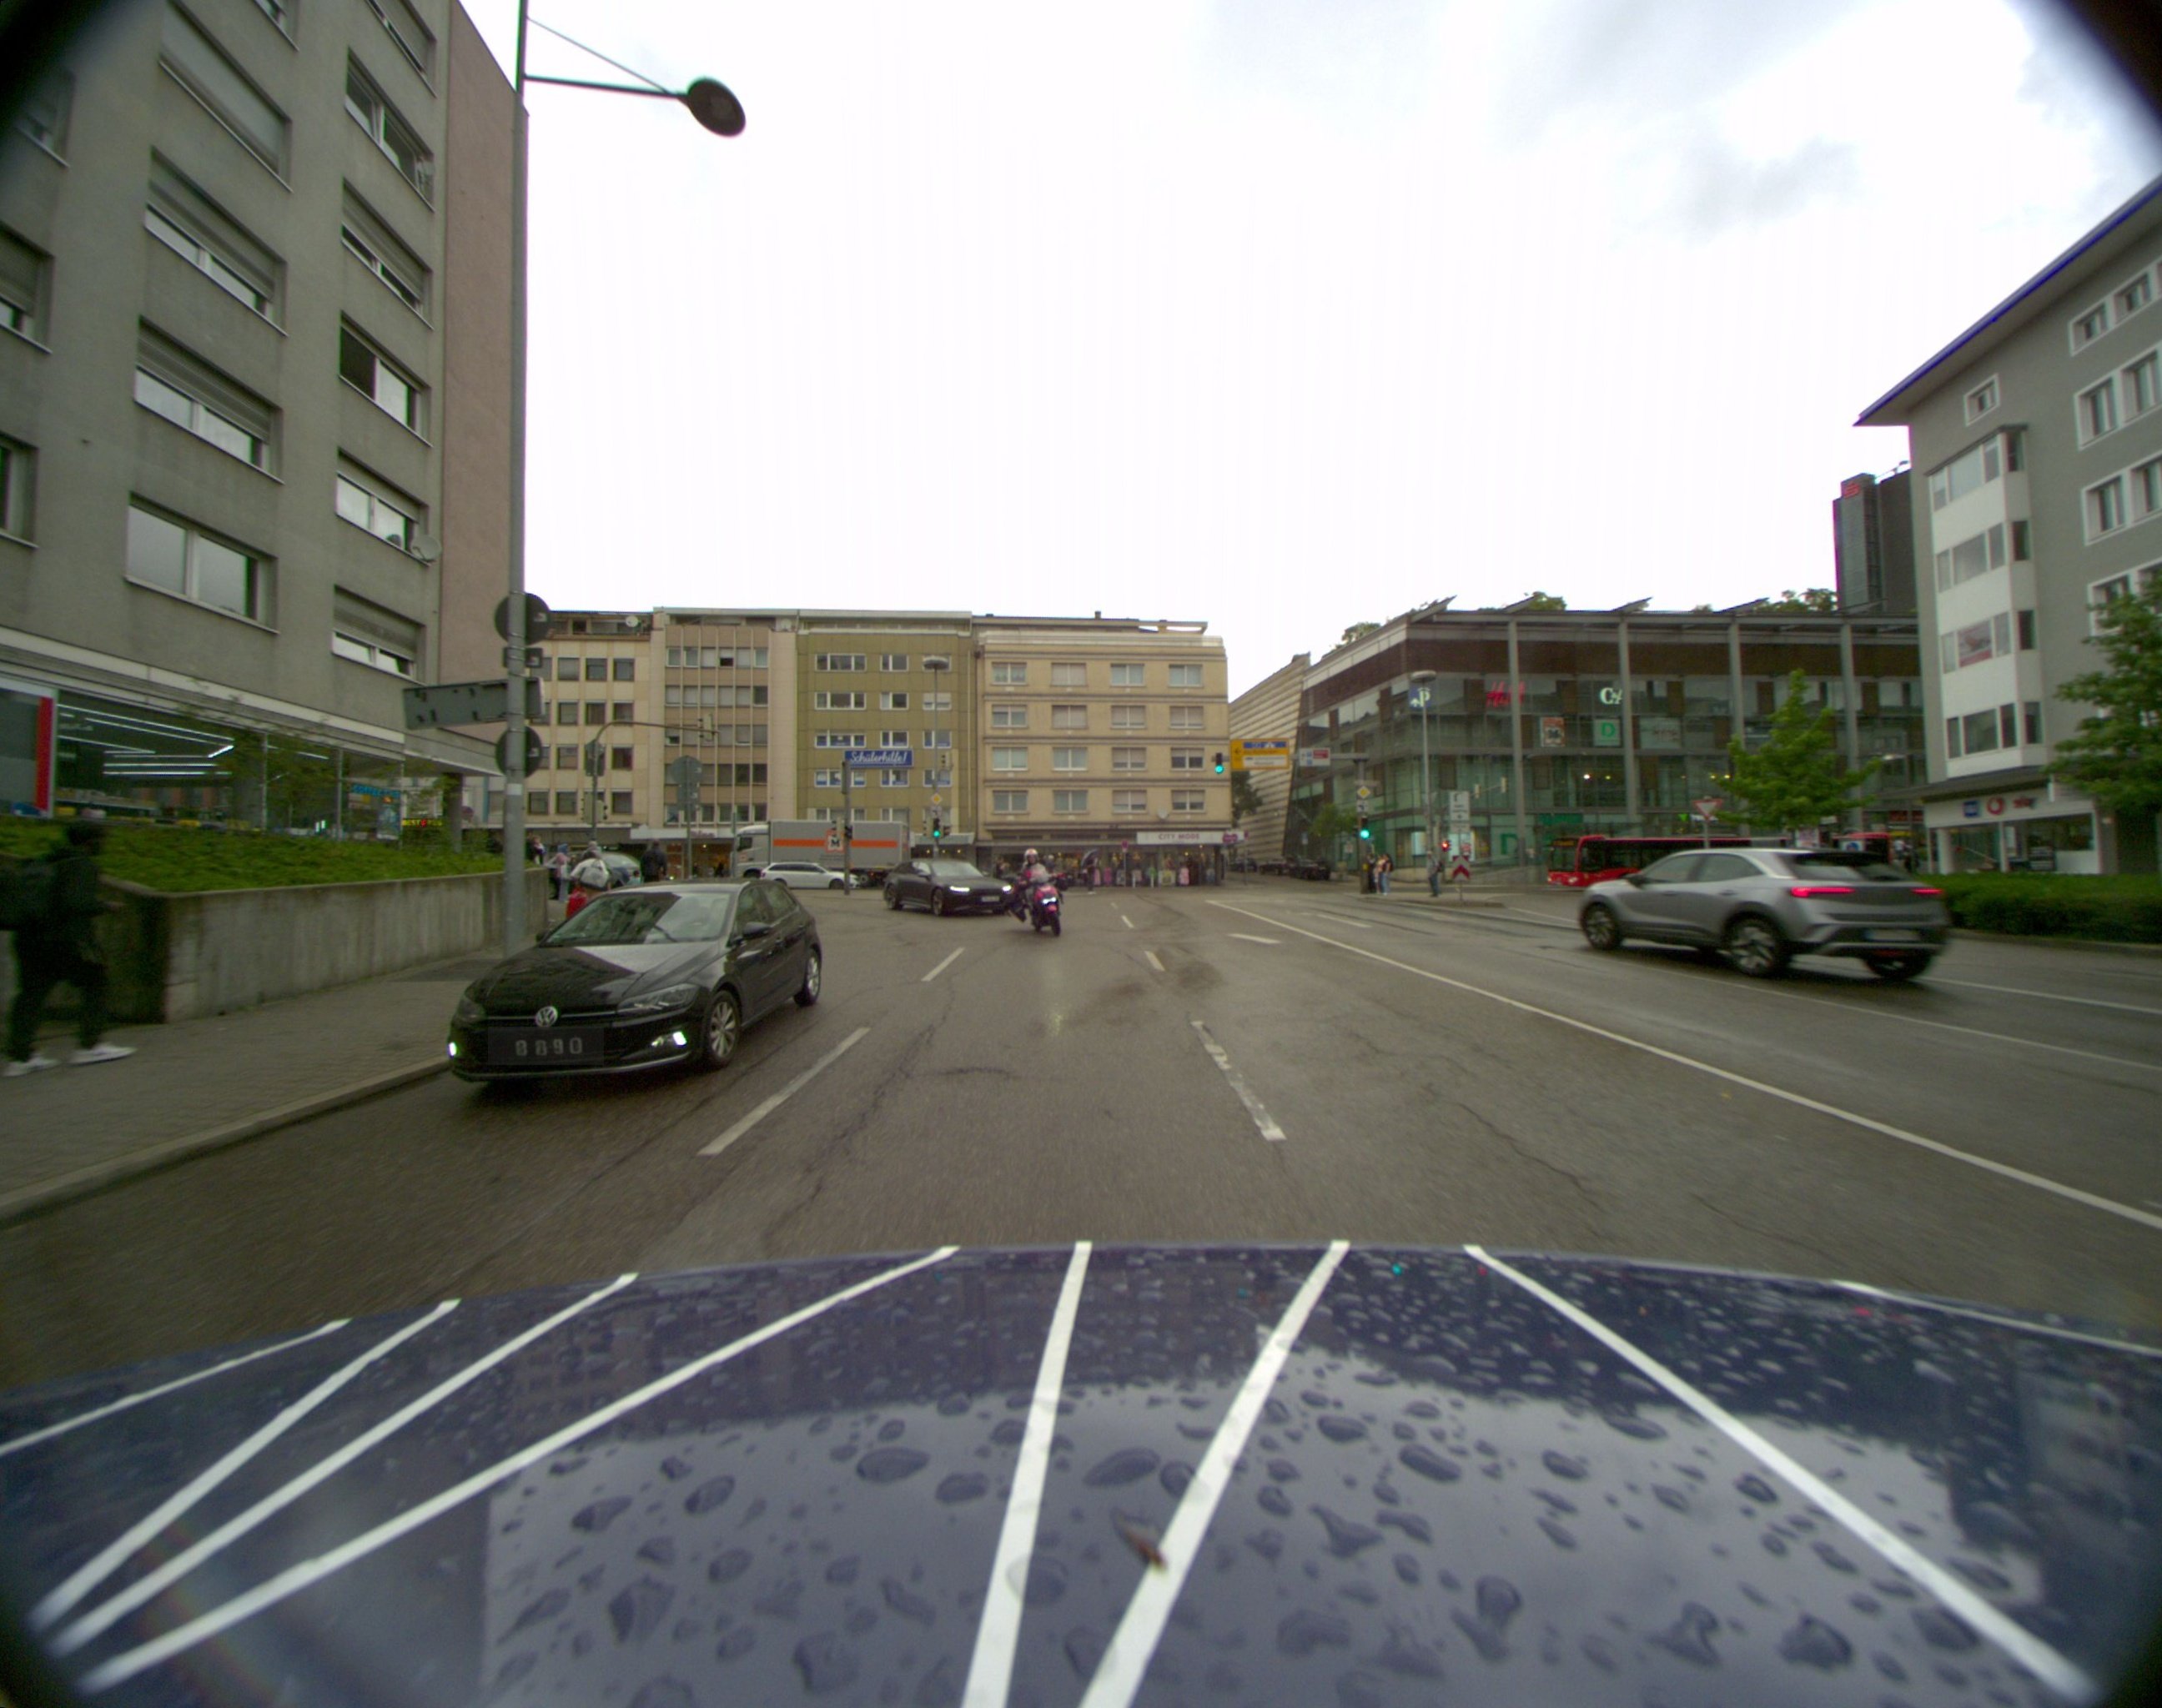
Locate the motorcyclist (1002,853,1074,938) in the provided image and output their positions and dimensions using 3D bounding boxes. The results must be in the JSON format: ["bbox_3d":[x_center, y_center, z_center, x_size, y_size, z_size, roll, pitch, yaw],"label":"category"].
[{"bbox_3d":[-0.846,0.786,14.834,1.095,1.595,0.951,0,-1,-27],"label":"motorcyclist"}]

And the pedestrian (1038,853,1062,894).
[{"bbox_3d":[-1.209,0.759,29.915,0.854,1.559,0.715,1,0,0],"label":"pedestrian"}]

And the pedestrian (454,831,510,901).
[{"bbox_3d":[-15.286,0.314,19.419,0.617,1.711,0.839,3,-2,4],"label":"pedestrian"}]

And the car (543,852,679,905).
[{"bbox_3d":[-14.930,0.735,24.116,4.093,1.538,1.876,0,0,28],"label":"car"}]

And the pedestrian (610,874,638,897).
[{"bbox_3d":[-11.773,0.810,19.584,0.457,0.567,0.373,0,-3,15],"label":"pedestrian"}]

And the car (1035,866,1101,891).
[{"bbox_3d":[-0.882,1.585,49.416,4.200,1.554,1.705,0,-1,-4],"label":"car"}]

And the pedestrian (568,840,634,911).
[{"bbox_3d":[-11.967,0.545,18.978,0.837,1.711,1.040,0,-3,13],"label":"pedestrian"}]

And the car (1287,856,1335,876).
[{"bbox_3d":[18.609,0.968,61.582,1.806,1.537,4.291,0,0,-14],"label":"car"}]

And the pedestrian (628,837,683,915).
[{"bbox_3d":[-10.522,0.552,18.787,0.785,1.855,0.619,4,-4,12],"label":"pedestrian"}]

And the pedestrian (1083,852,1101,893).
[{"bbox_3d":[0.447,0.769,32.000,0.693,1.682,0.759,2,0,0],"label":"pedestrian"}]

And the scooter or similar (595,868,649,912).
[{"bbox_3d":[-11.806,0.933,19.571,0.654,1.102,0.975,0,-4,15],"label":"scooter or similar"}]

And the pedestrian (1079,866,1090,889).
[{"bbox_3d":[0.228,1.615,51.905,0.681,1.527,0.787,0,0,-6],"label":"pedestrian"}]

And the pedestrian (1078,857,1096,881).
[{"bbox_3d":[0.402,1.020,51.047,0.843,1.618,0.776,0,0,42],"label":"pedestrian"}]

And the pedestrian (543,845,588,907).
[{"bbox_3d":[-14.159,0.605,20.875,0.594,1.624,0.747,2,-4,37],"label":"pedestrian"}]

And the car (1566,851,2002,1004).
[{"bbox_3d":[8.591,0.766,9.917,1.846,1.543,4.093,1,0,0],"label":"car"}]

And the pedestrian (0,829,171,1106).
[{"bbox_3d":[-7.459,0.757,5.469,0.601,1.829,1.012,0,-1,-4],"label":"pedestrian"}]

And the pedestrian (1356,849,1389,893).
[{"bbox_3d":[12.139,0.692,31.647,0.853,1.777,1.012,0,0,-10],"label":"pedestrian"}]

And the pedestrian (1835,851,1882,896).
[{"bbox_3d":[31.321,0.771,30.630,0.800,1.765,1.024,1,0,-10],"label":"pedestrian"}]

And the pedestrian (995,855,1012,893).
[{"bbox_3d":[-3.091,0.782,30.341,0.560,1.479,0.707,1,0,0],"label":"pedestrian"}]

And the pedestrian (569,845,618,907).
[{"bbox_3d":[-13.587,0.618,21.180,0.838,1.626,0.541,4,-5,-4],"label":"pedestrian"}]

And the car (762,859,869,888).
[{"bbox_3d":[-12.933,0.954,37.181,4.630,1.407,1.798,0,-1,-5],"label":"car"}]

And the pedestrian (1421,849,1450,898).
[{"bbox_3d":[13.055,0.706,27.994,0.617,1.768,0.831,0,0,-10],"label":"pedestrian"}]

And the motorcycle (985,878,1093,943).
[{"bbox_3d":[-0.872,1.056,14.907,1.316,1.128,2.180,1,-1,-28],"label":"motorcycle"}]

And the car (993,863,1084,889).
[{"bbox_3d":[-2.368,1.216,42.132,4.622,1.417,2.004,0,-2,22],"label":"car"}]

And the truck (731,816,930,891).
[{"bbox_3d":[-14.612,0.014,45.015,10.767,4.307,2.855,0,-1,-4],"label":"truck"}]

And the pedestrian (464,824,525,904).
[{"bbox_3d":[-14.423,0.253,18.700,0.731,1.919,0.821,1,-2,4],"label":"pedestrian"}]

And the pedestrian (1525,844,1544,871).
[{"bbox_3d":[33.325,0.246,55.837,0.849,1.968,0.877,0,-1,-5],"label":"pedestrian"}]

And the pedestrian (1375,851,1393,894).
[{"bbox_3d":[11.824,0.704,29.681,0.501,1.658,0.571,0,-1,3],"label":"pedestrian"}]

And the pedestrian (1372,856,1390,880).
[{"bbox_3d":[22.285,1.064,56.504,0.696,1.751,1.047,1,-1,-30],"label":"pedestrian"}]

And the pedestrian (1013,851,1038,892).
[{"bbox_3d":[-2.234,0.701,30.927,0.914,1.662,0.981,0,0,1],"label":"pedestrian"}]

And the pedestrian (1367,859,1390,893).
[{"bbox_3d":[11.843,0.866,30.248,0.588,1.331,0.631,0,0,-10],"label":"pedestrian"}]

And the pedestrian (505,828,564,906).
[{"bbox_3d":[-13.671,0.339,19.037,0.658,1.852,0.839,4,-4,0],"label":"pedestrian"}]

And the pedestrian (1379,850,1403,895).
[{"bbox_3d":[11.845,0.697,29.013,0.638,1.679,0.784,0,0,5],"label":"pedestrian"}]

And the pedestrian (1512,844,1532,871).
[{"bbox_3d":[32.364,0.238,55.790,0.974,1.968,0.883,0,-1,-5],"label":"pedestrian"}]

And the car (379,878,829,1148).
[{"bbox_3d":[-3.596,1.050,6.691,1.743,1.423,3.877,-1,1,-5],"label":"car"}]

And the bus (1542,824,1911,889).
[{"bbox_3d":[35.337,0.157,41.899,18.468,3.301,2.929,0,-1,-3],"label":"bus"}]

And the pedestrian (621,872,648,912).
[{"bbox_3d":[-11.313,0.970,19.251,0.471,0.993,0.262,0,-6,19],"label":"pedestrian"}]

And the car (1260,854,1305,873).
[{"bbox_3d":[17.718,0.788,67.080,1.899,1.537,4.375,-2,1,-14],"label":"car"}]

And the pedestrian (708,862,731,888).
[{"bbox_3d":[-23.871,1.357,50.181,1.086,1.685,0.954,-1,0,-6],"label":"pedestrian"}]

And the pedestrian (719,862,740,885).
[{"bbox_3d":[-23.014,1.277,49.780,1.065,1.475,0.668,-1,0,-6],"label":"pedestrian"}]

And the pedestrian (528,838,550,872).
[{"bbox_3d":[-13.602,0.018,19.056,0.440,0.842,0.221,0,1,17],"label":"pedestrian"}]

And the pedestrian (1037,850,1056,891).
[{"bbox_3d":[-1.479,0.702,32.594,0.706,1.701,0.786,1,0,0],"label":"pedestrian"}]

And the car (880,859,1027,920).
[{"bbox_3d":[-3.615,0.923,20.823,2.004,1.482,4.722,1,-2,-38],"label":"car"}]

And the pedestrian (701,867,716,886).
[{"bbox_3d":[-24.784,1.513,50.533,0.720,1.242,0.536,-1,0,-6],"label":"pedestrian"}]

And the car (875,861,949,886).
[{"bbox_3d":[-10.863,1.250,49.052,4.398,1.541,1.852,-1,1,-5],"label":"car"}]

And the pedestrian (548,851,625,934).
[{"bbox_3d":[-9.566,0.741,14.752,1.061,1.522,1.025,3,0,-26],"label":"pedestrian"}]

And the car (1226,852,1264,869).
[{"bbox_3d":[15.953,0.629,74.106,1.899,1.537,4.375,-2,1,-14],"label":"car"}]
